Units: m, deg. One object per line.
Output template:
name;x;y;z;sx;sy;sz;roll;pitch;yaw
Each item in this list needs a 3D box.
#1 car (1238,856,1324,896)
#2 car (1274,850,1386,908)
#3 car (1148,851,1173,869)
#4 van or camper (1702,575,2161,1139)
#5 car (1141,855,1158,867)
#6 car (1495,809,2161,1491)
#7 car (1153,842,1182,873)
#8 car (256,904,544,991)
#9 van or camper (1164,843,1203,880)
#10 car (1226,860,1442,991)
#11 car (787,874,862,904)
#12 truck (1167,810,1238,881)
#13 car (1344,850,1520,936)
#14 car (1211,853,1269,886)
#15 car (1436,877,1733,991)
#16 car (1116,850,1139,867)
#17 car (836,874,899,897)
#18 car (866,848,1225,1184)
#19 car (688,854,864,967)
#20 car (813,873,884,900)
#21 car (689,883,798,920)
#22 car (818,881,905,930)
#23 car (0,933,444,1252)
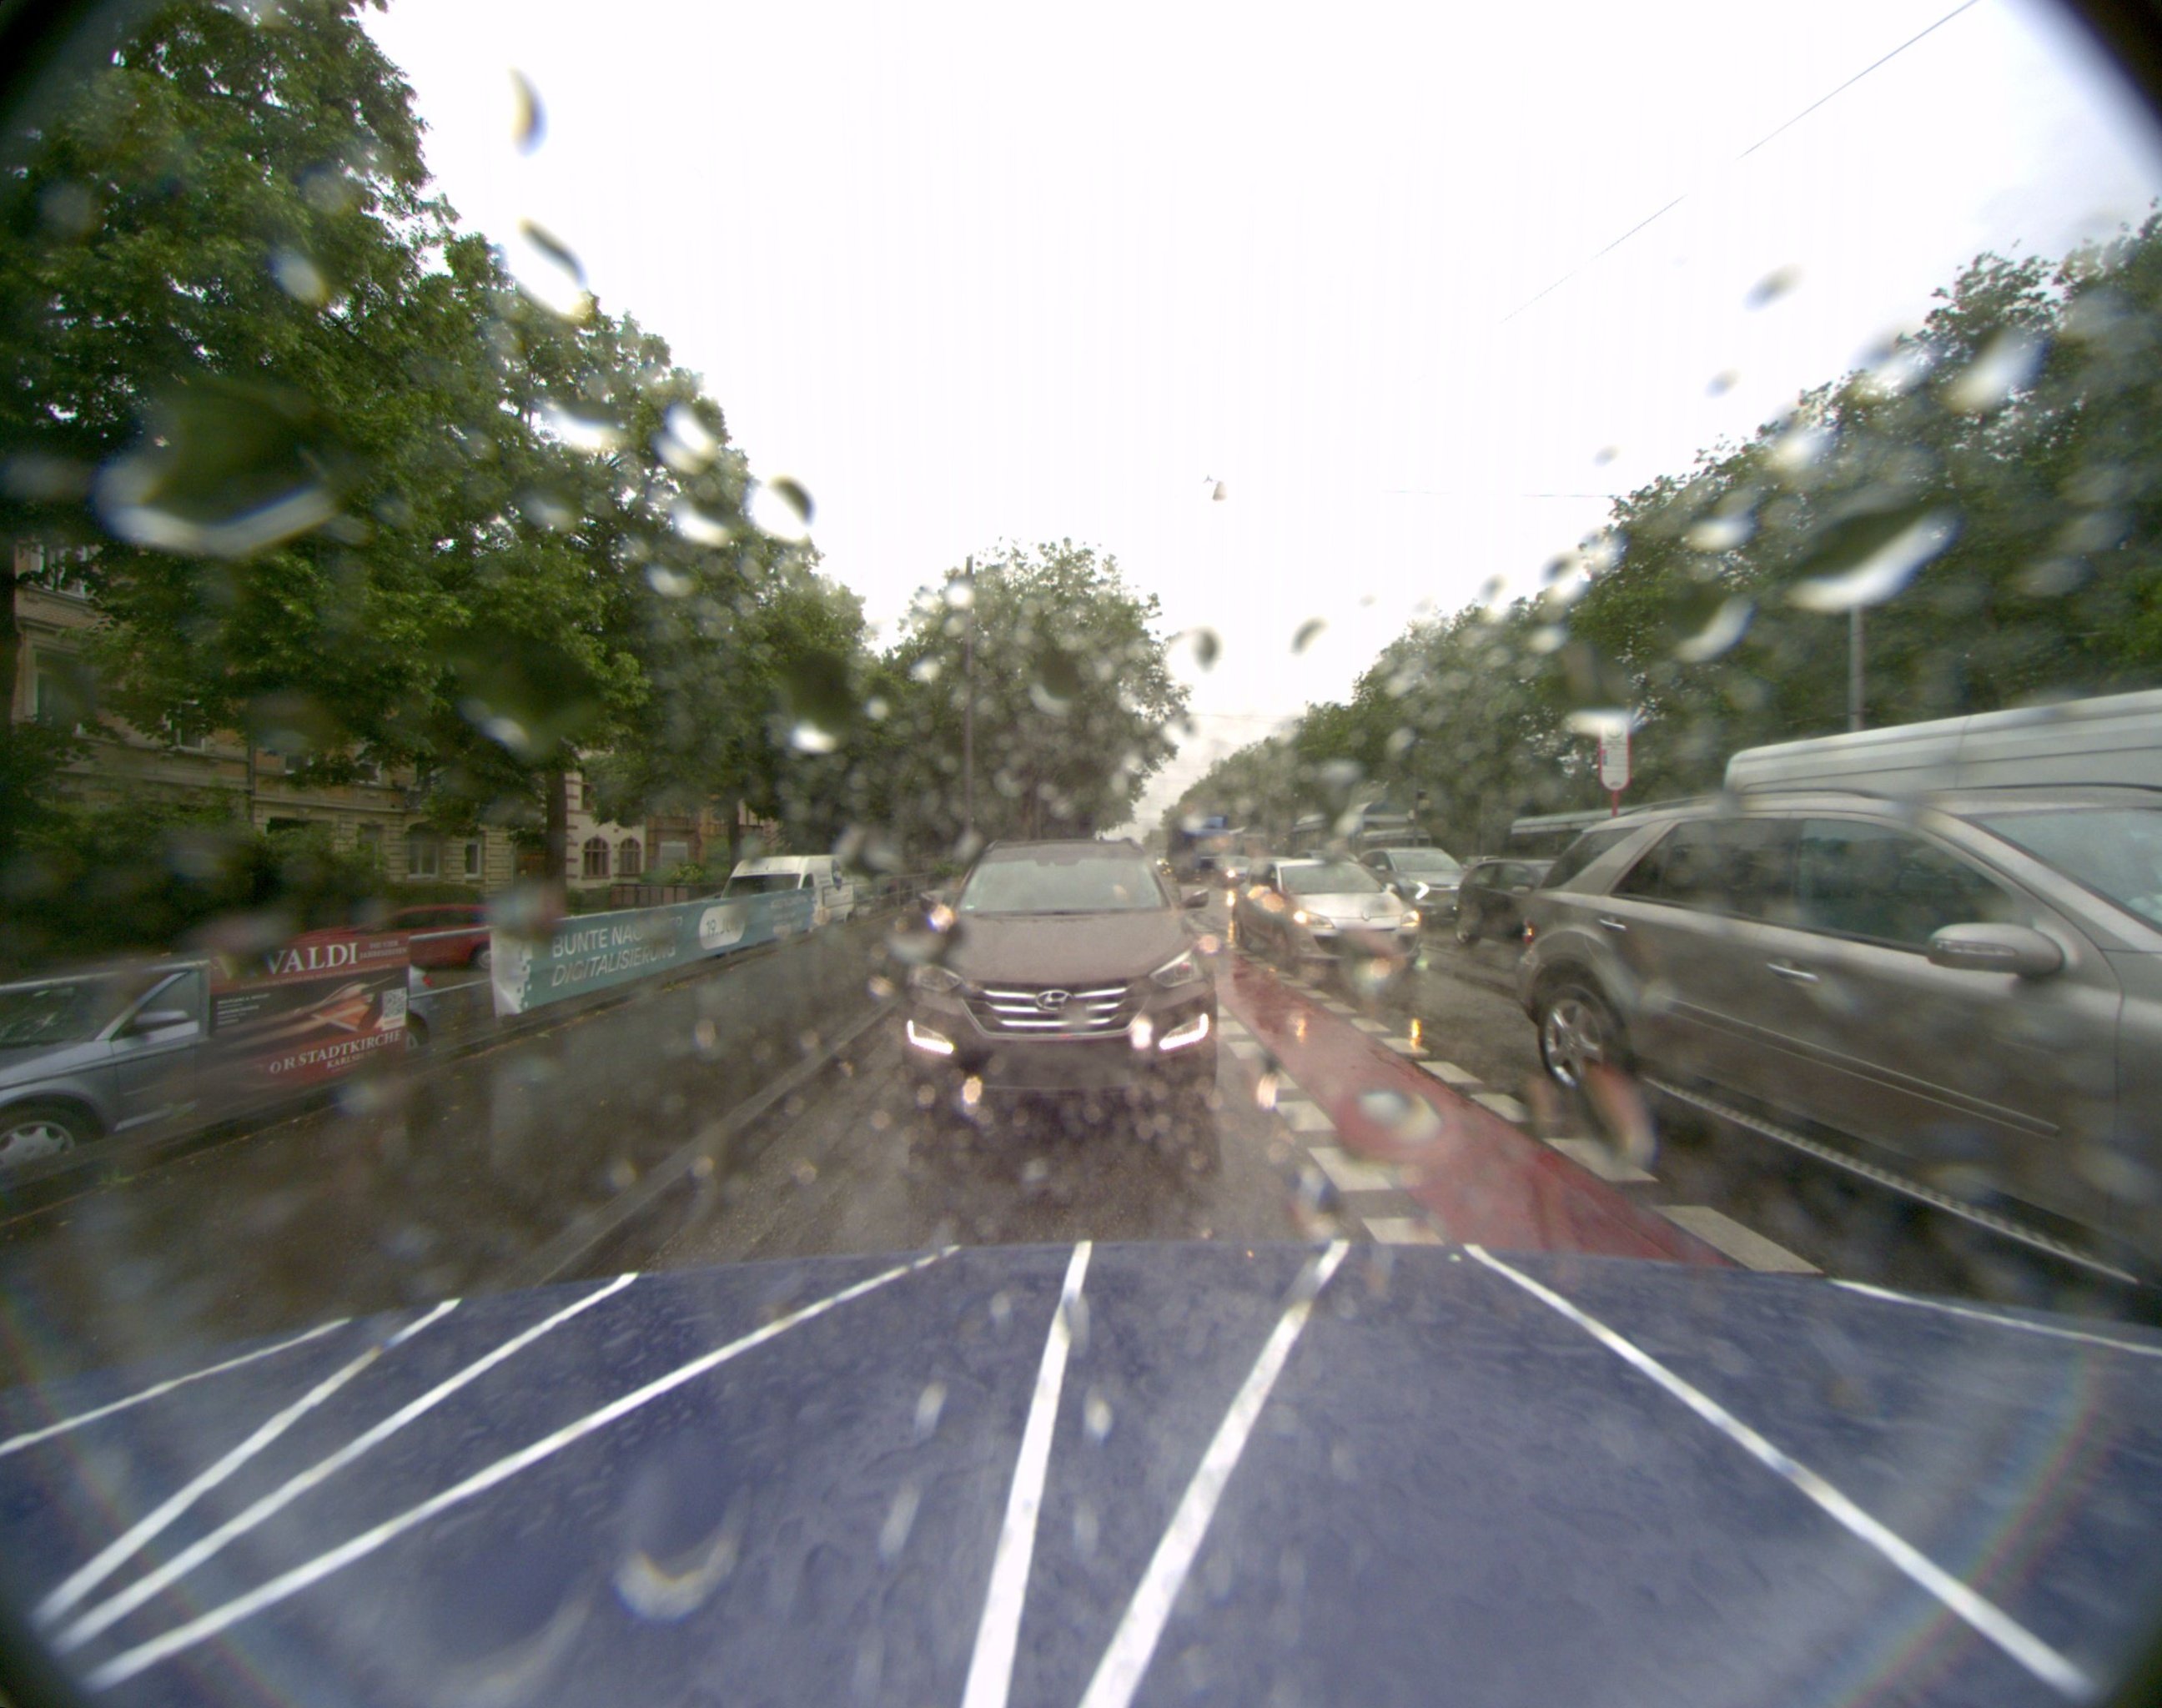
car;7.523;0.788;29.058;1.999;1.386;4.606;0;0;-1
car;7.566;0.686;23.580;1.999;1.611;4.319;-1;0;-1
car;7.610;0.565;73.325;1.998;1.568;4.000;-2;0;1
van or camper;7.062;0.011;4.338;2.164;3.123;5.850;0;0;-1
car;7.196;0.701;79.987;1.467;1.185;3.615;-2;0;0
car;3.777;0.732;2.798;2.030;1.760;4.462;-2;0;0
car;7.435;0.263;65.551;1.998;2.412;5.727;-2;0;3
car;-14.627;1.947;16.737;4.439;1.444;1.894;0;-1;-32
van or camper;7.637;0.515;57.113;1.998;2.555;6.431;-2;0;0
car;3.418;0.868;11.100;1.772;1.469;4.000;-2;0;0
car;-15.725;2.126;46.661;4.006;1.599;1.821;-2;1;-31
truck;7.179;-0.482;46.294;2.545;3.866;9.810;1;0;-1
car;7.442;0.727;16.673;1.919;1.614;4.454;0;0;2
car;7.579;0.705;36.599;1.895;1.478;4.077;-1;0;-1
car;6.744;0.981;10.767;1.467;1.111;4.087;-2;0;0
car;4.423;0.453;73.120;1.899;1.569;3.999;0;0;0
car;-15.543;2.244;55.353;4.007;1.455;1.908;-2;1;-34
car;-0.113;0.810;5.651;1.756;1.657;3.678;-2;0;2
car;-7.705;1.263;20.094;2.214;2.406;6.157;-3;0;-2
car;-15.366;2.127;50.314;4.007;1.557;1.995;-2;1;-34
car;-14.862;2.054;33.497;4.269;1.372;1.687;-1;1;-27
car;-7.744;1.768;27.220;1.972;1.345;4.383;-3;0;-3
car;-7.235;1.592;5.538;1.736;1.530;4.074;-2;0;-1
